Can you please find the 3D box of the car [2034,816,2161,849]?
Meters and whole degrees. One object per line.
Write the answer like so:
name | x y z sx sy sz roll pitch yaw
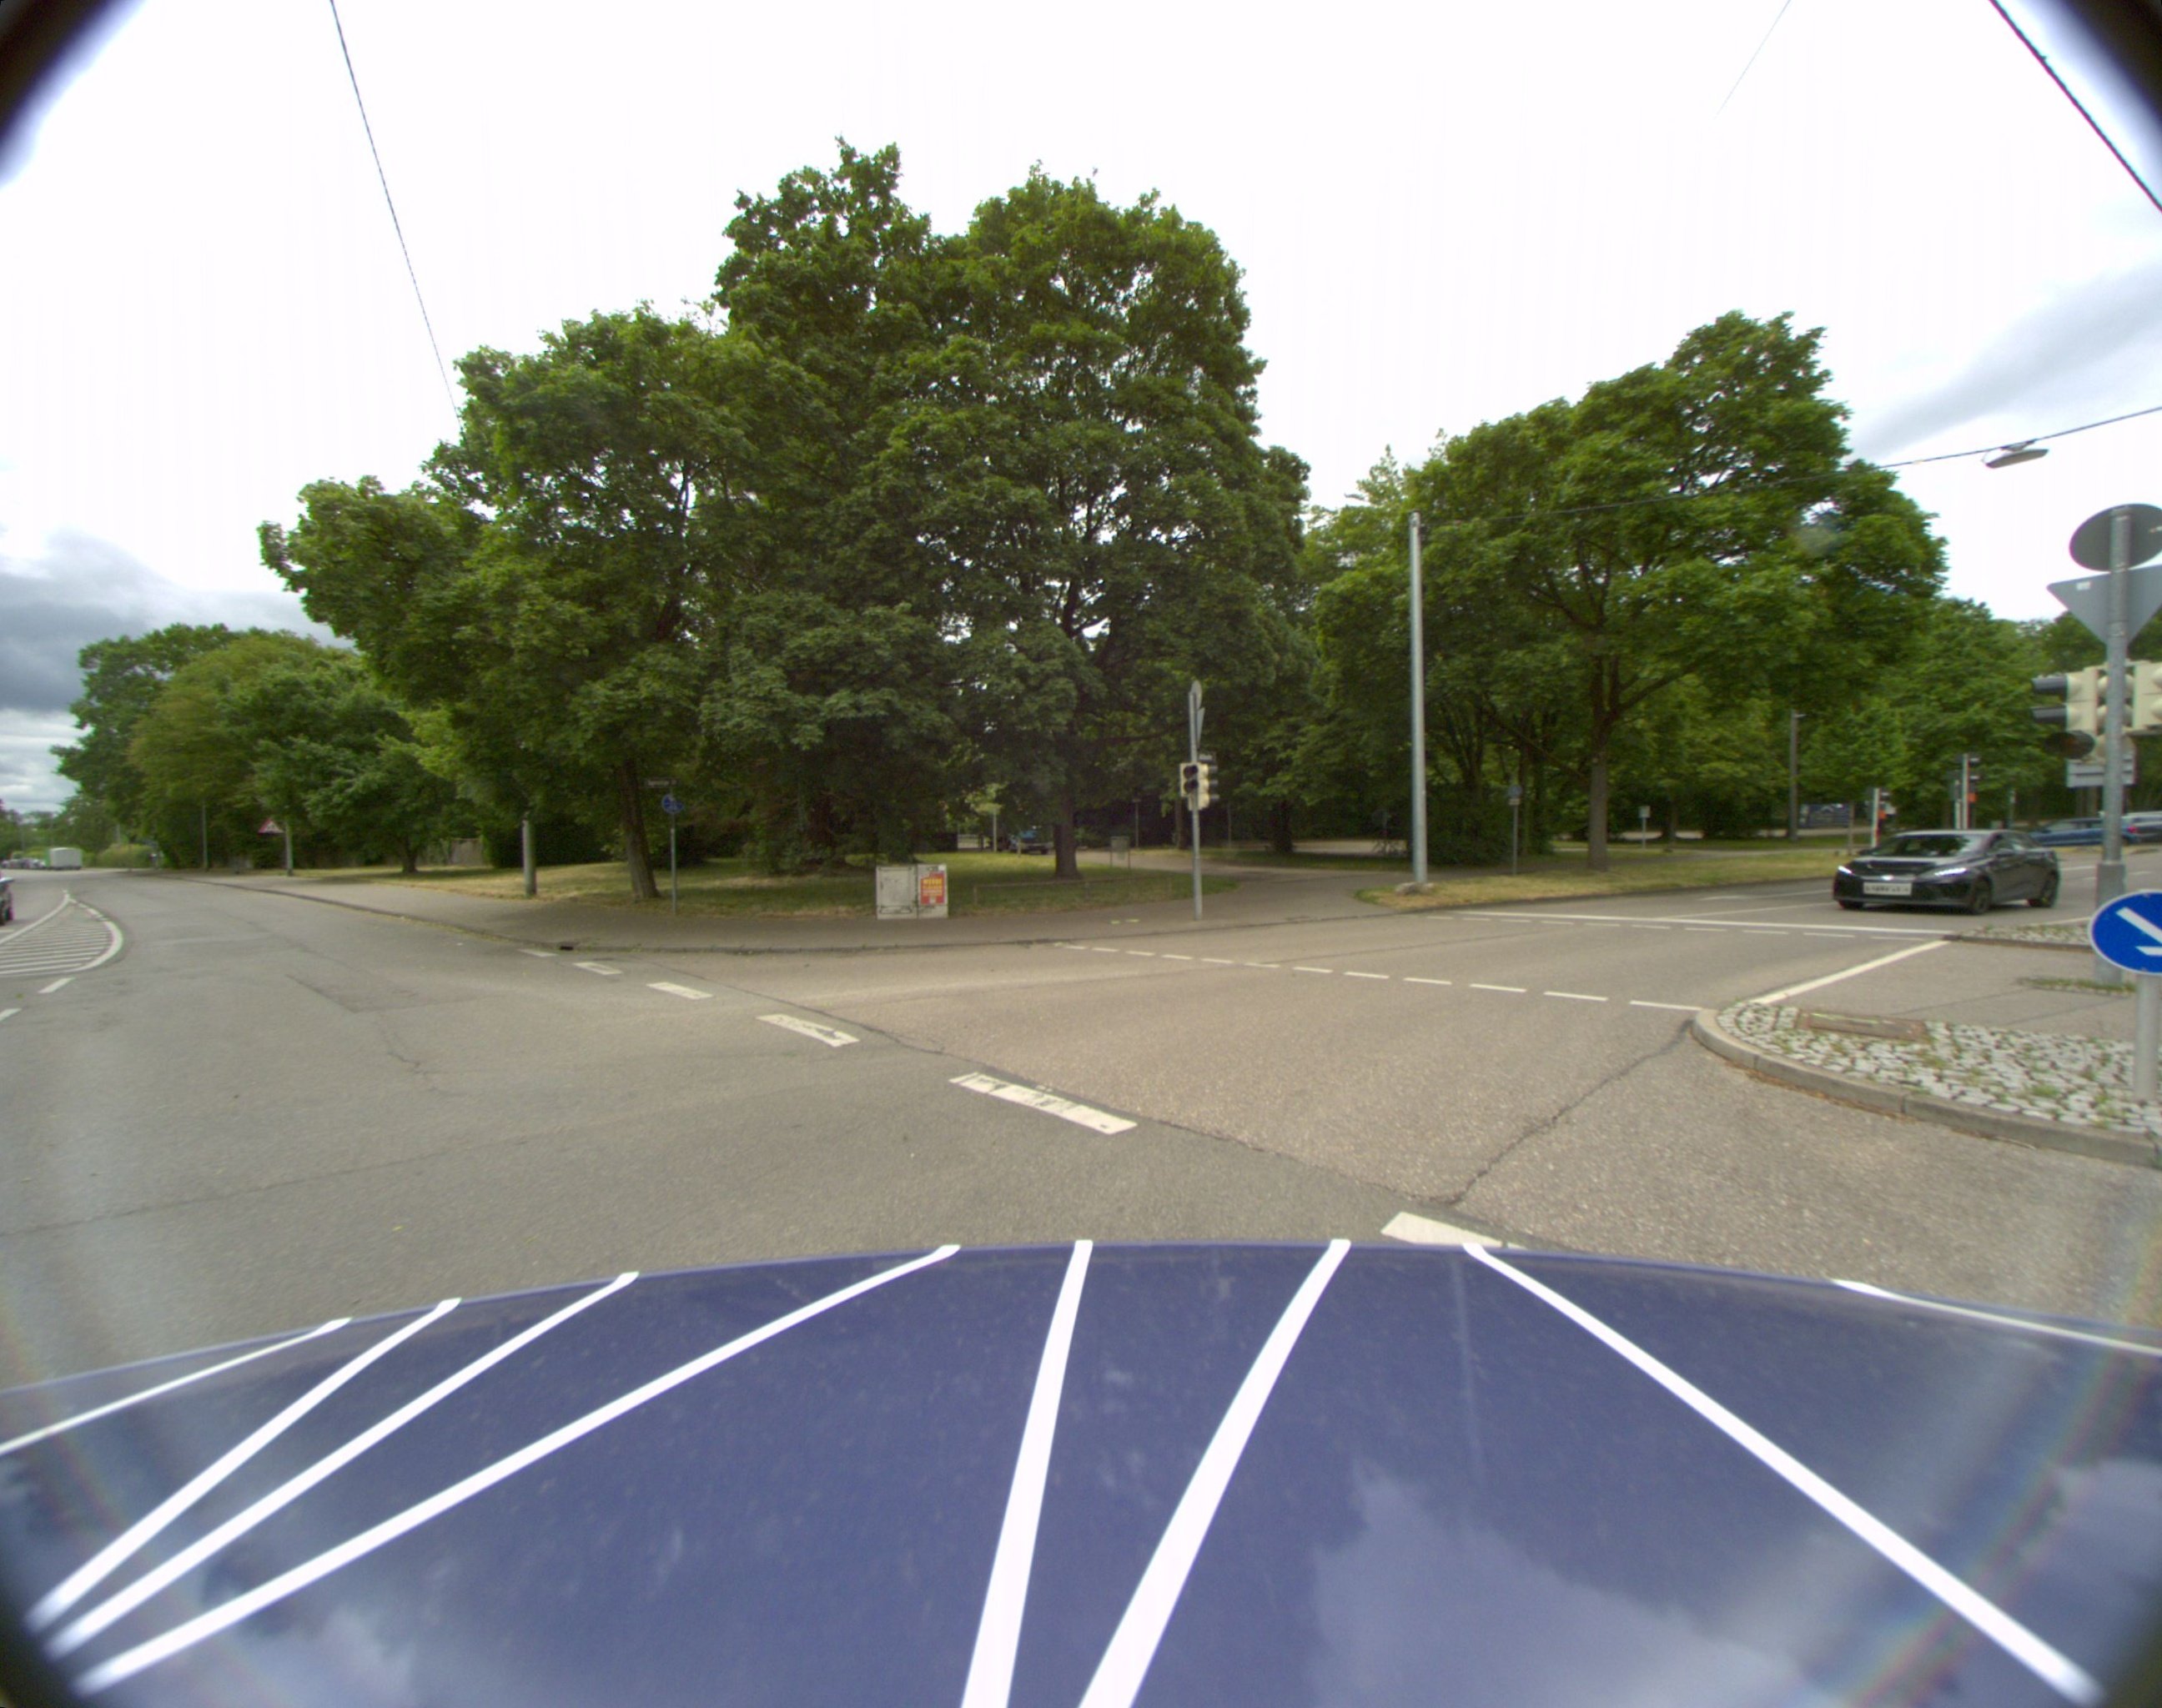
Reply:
car | 48.190 -1.028 35.799 1.922 1.478 3.988 -3 3 -41

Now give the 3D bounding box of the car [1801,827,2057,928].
car | 16.034 0.381 14.385 4.004 1.608 1.996 -2 0 -23

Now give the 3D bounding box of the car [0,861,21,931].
car | -26.076 0.996 17.504 3.547 1.510 1.784 1 4 36

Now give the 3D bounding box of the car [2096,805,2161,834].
car | 55.569 -1.766 38.978 1.922 1.478 3.988 -3 3 -41

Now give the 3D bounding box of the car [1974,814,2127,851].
car | 43.075 -0.978 33.939 1.922 1.478 3.988 -5 5 -44

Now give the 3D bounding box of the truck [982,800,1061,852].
truck | -3.731 -1.654 45.792 2.485 2.831 7.417 -2 2 -23

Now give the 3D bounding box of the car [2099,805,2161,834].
car | 59.720 -1.912 41.622 4.405 1.600 2.004 1 3 44
